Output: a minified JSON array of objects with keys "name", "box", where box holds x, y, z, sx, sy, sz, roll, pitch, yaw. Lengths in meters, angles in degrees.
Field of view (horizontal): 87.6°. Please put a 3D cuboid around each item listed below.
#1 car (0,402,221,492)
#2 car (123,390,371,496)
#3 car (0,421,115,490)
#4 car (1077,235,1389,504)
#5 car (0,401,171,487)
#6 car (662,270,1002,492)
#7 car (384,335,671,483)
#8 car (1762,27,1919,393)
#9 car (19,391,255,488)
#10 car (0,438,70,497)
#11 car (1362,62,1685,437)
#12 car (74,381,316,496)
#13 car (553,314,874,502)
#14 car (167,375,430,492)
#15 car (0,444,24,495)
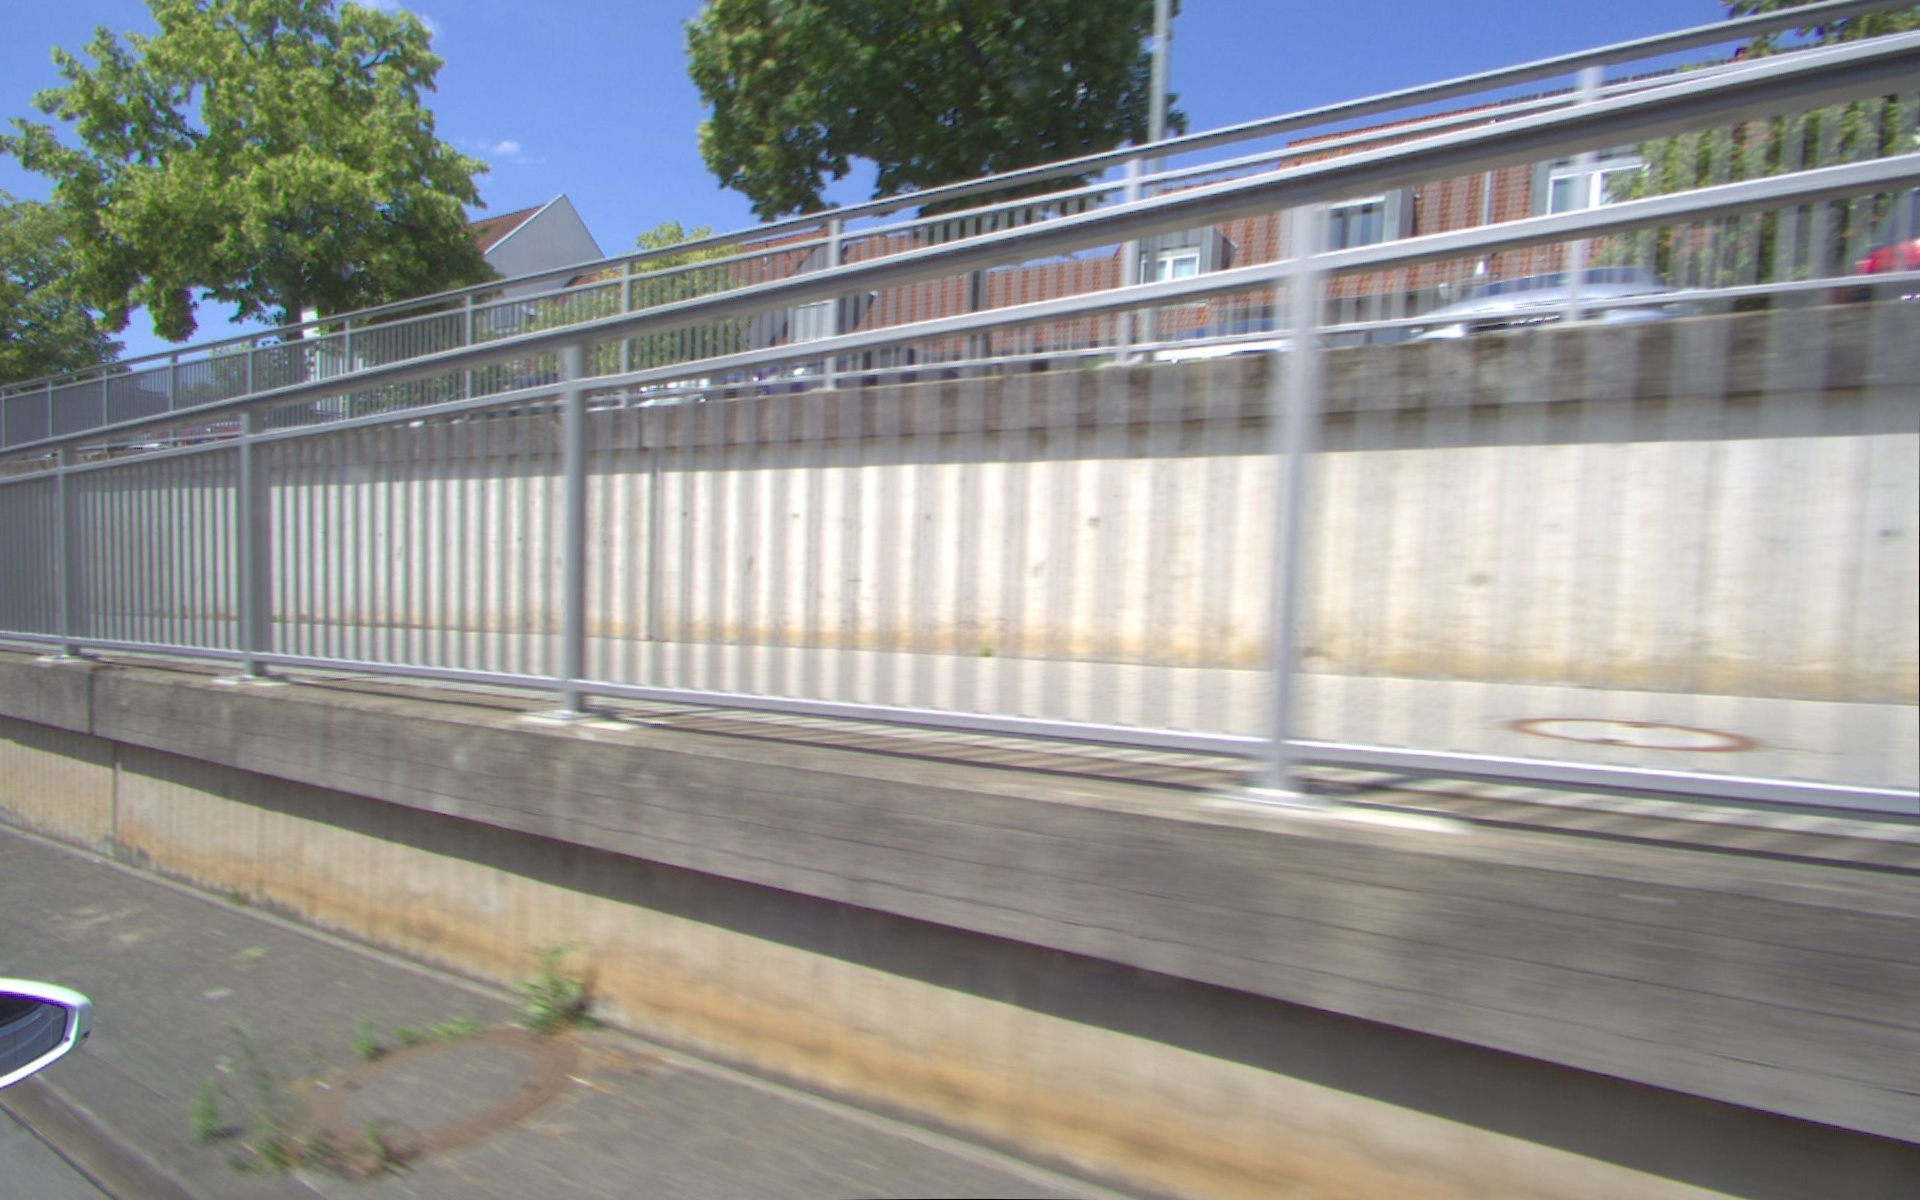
[{"name":"car","box":[-21.043,-3.708,24.879,1.746,1.505,3.975,0,-1,35]},{"name":"car","box":[-14.996,-3.212,21.253,1.746,1.505,3.975,0,-1,35]},{"name":"car","box":[-26.817,-4.156,28.492,1.746,1.505,3.975,0,-1,35]},{"name":"car","box":[2.836,-1.954,9.750,1.701,1.576,3.976,0,-1,35]},{"name":"car","box":[-23.287,-4.017,26.108,1.746,1.587,3.975,0,-1,35]},{"name":"car","box":[-1.288,-2.303,11.603,1.701,1.576,3.976,0,-1,35]},{"name":"car","box":[-6.845,-2.929,16.215,1.746,1.505,3.975,0,-1,35]},{"name":"car","box":[6.772,-2.454,6.715,1.747,1.325,3.976,1,2,33]},{"name":"car","box":[-19.115,-3.650,23.417,1.746,1.505,3.975,0,-1,35]},{"name":"car","box":[-29.884,-4.133,30.418,1.746,1.505,3.975,0,-1,35]},{"name":"car","box":[4.556,-2.353,7.862,1.701,1.447,3.976,3,1,35]},{"name":"car","box":[-16.922,-3.487,22.332,1.746,1.793,3.975,0,-1,35]},{"name":"car","box":[-3.056,-2.318,13.140,1.701,1.576,3.976,0,-1,35]},{"name":"car","box":[-12.810,-3.132,19.609,1.746,1.505,3.975,0,-1,35]},{"name":"car","box":[-33.332,-4.437,32.559,1.746,1.505,3.975,0,-1,35]}]
